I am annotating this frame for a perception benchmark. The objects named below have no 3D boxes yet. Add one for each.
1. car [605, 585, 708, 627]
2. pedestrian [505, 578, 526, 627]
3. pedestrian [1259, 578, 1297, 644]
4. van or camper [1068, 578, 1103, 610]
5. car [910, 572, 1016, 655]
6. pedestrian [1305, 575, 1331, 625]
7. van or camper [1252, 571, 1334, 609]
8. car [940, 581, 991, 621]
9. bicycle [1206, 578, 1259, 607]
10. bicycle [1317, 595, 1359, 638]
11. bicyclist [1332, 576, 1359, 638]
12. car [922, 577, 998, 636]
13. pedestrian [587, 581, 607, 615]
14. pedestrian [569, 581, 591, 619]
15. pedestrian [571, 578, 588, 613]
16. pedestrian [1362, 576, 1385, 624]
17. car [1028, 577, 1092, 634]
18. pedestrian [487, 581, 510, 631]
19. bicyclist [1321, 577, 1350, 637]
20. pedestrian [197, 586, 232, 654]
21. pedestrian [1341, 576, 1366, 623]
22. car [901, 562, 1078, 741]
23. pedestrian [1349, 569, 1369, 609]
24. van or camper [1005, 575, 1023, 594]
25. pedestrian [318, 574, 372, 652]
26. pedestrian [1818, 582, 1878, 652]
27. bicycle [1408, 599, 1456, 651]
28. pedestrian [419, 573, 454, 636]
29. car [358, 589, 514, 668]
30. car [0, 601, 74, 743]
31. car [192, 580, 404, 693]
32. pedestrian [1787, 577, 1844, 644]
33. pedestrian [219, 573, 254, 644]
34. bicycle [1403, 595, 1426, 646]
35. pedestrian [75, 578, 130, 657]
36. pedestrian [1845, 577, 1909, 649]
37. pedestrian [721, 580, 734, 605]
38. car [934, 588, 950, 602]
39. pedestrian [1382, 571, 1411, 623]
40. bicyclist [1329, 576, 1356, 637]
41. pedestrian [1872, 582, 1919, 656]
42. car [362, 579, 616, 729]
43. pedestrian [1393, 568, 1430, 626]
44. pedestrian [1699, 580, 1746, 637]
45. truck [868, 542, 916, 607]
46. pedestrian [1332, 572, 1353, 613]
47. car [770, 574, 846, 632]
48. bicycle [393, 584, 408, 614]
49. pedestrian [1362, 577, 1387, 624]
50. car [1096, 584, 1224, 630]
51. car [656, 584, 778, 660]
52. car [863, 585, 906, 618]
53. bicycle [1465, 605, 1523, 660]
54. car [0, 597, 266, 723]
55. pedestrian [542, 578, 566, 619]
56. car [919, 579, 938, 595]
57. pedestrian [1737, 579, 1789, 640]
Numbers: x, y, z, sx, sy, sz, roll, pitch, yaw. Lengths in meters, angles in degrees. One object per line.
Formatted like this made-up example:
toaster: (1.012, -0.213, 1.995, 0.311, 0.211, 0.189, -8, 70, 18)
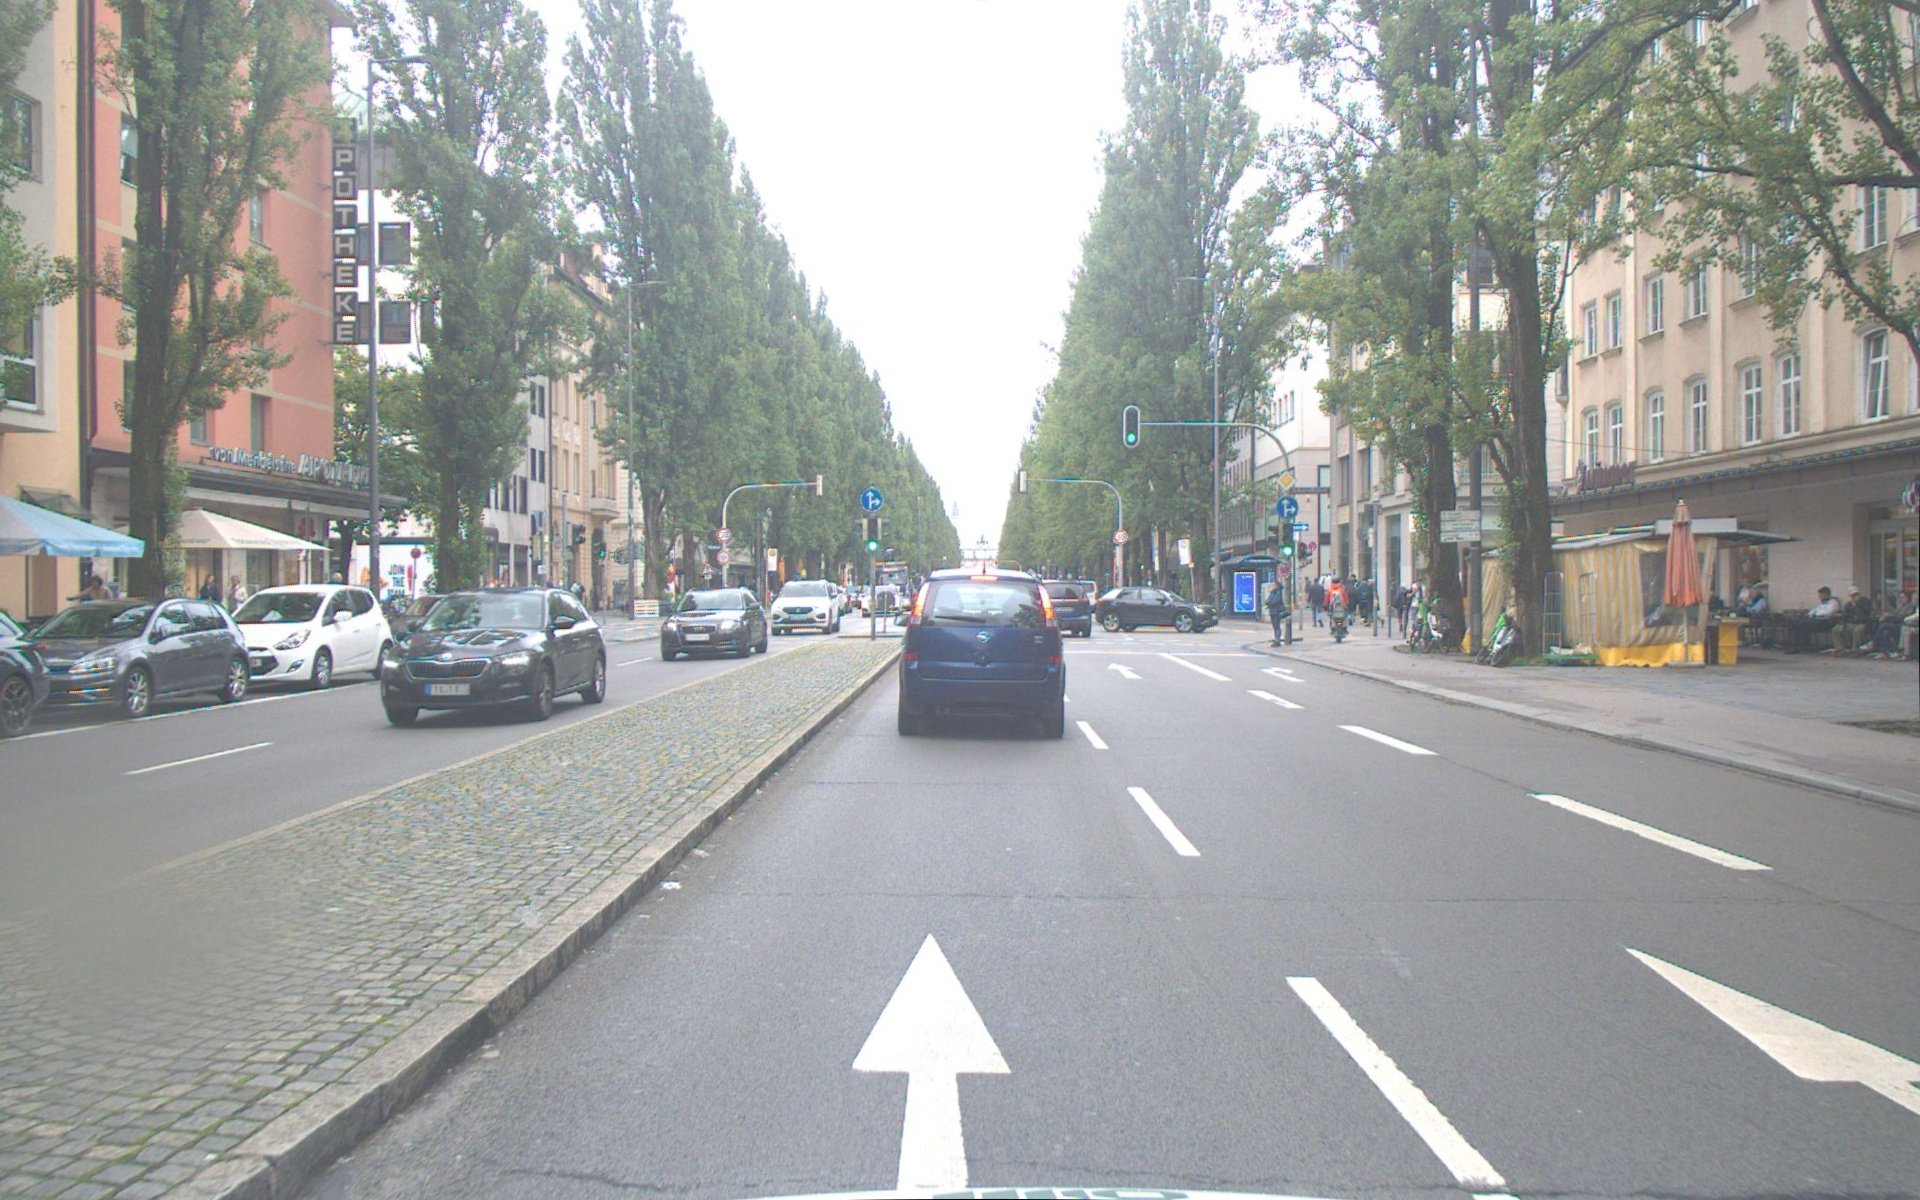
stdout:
car: (-11.419, 0.214, 62.235, 3.634, 1.501, 1.764, -1, 1, -18)
pedestrian: (-15.683, 0.083, 58.384, 0.574, 1.720, 0.514, 0, 0, 1)
pedestrian: (8.094, 0.274, 42.140, 0.750, 1.638, 0.864, -1, 0, -3)
van or camper: (7.556, -0.379, 99.865, 1.830, 1.916, 4.903, 0, 1, 1)
car: (0.064, 0.222, 32.660, 1.953, 1.523, 4.000, -1, 1, 0)
pedestrian: (13.565, -0.006, 62.741, 0.801, 1.849, 0.890, 0, 0, -1)
van or camper: (17.479, -0.522, 86.905, 4.018, 1.899, 1.899, 1, 0, 5)
car: (0.228, 0.028, 65.646, 1.953, 1.523, 4.000, 0, 1, 0)
bicycle: (12.285, -0.346, 74.637, 2.295, 1.274, 0.633, 0, 0, 0)
bicycle: (10.273, 0.430, 44.983, 0.614, 1.105, 2.263, -1, 0, 0)
bicyclist: (10.269, 0.182, 44.045, 0.608, 1.616, 0.391, -1, 0, 0)
car: (0.002, 0.150, 45.169, 1.953, 1.523, 4.000, 0, 1, 0)
pedestrian: (-18.046, -0.093, 82.238, 0.762, 1.647, 0.934, 0, 0, 0)
pedestrian: (-16.198, 0.010, 70.507, 0.735, 1.594, 0.989, 0, 0, -1)
pedestrian: (-20.253, -0.232, 88.011, 0.684, 1.818, 0.820, 0, 0, 2)
pedestrian: (15.456, -0.010, 61.849, 0.693, 1.788, 0.753, 0, 0, 2)
car: (2.936, 0.137, 49.245, 1.671, 1.601, 4.000, 0, 1, 0)
pedestrian: (-16.119, 0.212, 57.780, 0.616, 1.718, 0.519, 1, 0, 2)
bicyclist: (10.269, 0.177, 45.232, 0.608, 1.616, 0.753, -1, 0, 0)
pedestrian: (-18.525, 0.488, 41.101, 0.543, 1.667, 0.692, 0, 0, 0)
pedestrian: (15.095, -0.004, 63.434, 0.734, 1.789, 0.859, -1, -2, 2)
car: (0.276, 0.460, 17.524, 1.647, 1.670, 4.000, 0, 1, 0)
pedestrian: (17.806, -0.508, 73.822, 0.734, 1.788, 0.711, 0, 0, 2)
van or camper: (7.736, -2.267, 236.425, 2.425, 2.626, 5.845, -1, 0, 1)
pedestrian: (-14.645, 0.309, 39.423, 0.720, 1.827, 0.993, 1, 0, 19)
pedestrian: (16.557, 0.307, 30.843, 0.759, 1.286, 0.699, 0, 0, 1)
bicycle: (10.094, 0.513, 35.435, 0.498, 1.066, 1.770, 0, 1, -1)
pedestrian: (-15.085, 0.129, 47.687, 0.709, 1.802, 0.778, 0, 0, 2)
car: (-10.661, 0.542, 33.995, 1.668, 1.463, 4.590, -2, 0, 1)
car: (-10.634, 0.763, 15.986, 1.668, 1.437, 4.434, -2, 0, 1)
car: (-10.492, 0.532, 26.523, 1.668, 1.611, 4.096, -2, 0, 1)
pedestrian: (16.776, 0.201, 32.454, 0.759, 1.286, 0.699, 0, 0, 1)
pedestrian: (-17.989, 0.214, 41.107, 0.543, 1.747, 0.692, 0, 0, 0)
bicycle: (10.378, 0.457, 37.760, 0.396, 1.088, 1.812, 5, 1, 16)
pedestrian: (-18.684, 0.366, 36.053, 0.764, 1.697, 0.802, 0, 0, 0)
pedestrian: (16.526, 0.225, 29.819, 0.759, 1.286, 0.699, 0, 0, 1)
pedestrian: (-16.301, -0.543, 116.015, 0.719, 1.702, 0.952, 0, 0, 1)
car: (-2.339, -0.654, 216.907, 1.895, 1.651, 4.337, -2, 1, 0)
pedestrian: (14.326, -0.093, 54.306, 0.734, 1.665, 0.734, -2, -2, 3)
bicyclist: (10.272, 0.180, 44.439, 0.608, 1.616, 0.481, -1, 0, 0)
pedestrian: (16.556, 0.327, 28.993, 0.759, 1.286, 0.699, 0, 0, 1)
car: (-5.324, 0.555, 19.234, 1.720, 1.491, 4.050, -2, 0, 0)
pedestrian: (13.718, -0.074, 50.235, 0.661, 1.732, 0.846, 1, -2, -44)
pedestrian: (17.207, 0.187, 37.333, 0.759, 1.286, 0.699, 0, 0, 1)
truck: (-4.064, -1.529, 100.357, 2.412, 3.734, 8.441, 0, 1, 1)
pedestrian: (17.008, -0.351, 73.580, 0.734, 1.788, 1.017, 0, 0, 2)
car: (-4.717, 0.061, 51.916, 1.805, 1.664, 4.576, -2, 1, 1)
bicycle: (-23.232, -0.051, 68.726, 0.442, 1.204, 2.055, -1, 1, -15)
pedestrian: (15.874, 0.014, 63.365, 0.734, 1.789, 0.859, -1, -2, 2)
car: (6.724, 0.226, 55.610, 3.909, 1.486, 1.757, 0, 1, 27)
car: (-4.973, 0.406, 34.349, 1.798, 1.385, 4.177, -2, 1, 1)
car: (-3.666, 0.057, 81.352, 1.806, 1.528, 4.986, -1, 1, 1)
bicycle: (10.083, 0.601, 31.264, 0.498, 0.992, 1.770, 0, 1, -1)
car: (-10.523, 0.695, 21.156, 1.463, 1.405, 4.187, -2, 0, 1)
pedestrian: (-18.101, -0.081, 73.801, 0.783, 1.818, 0.912, 1, 0, 1)
car: (-3.450, -1.447, 182.655, 1.874, 1.710, 4.586, 0, 1, 1)
pedestrian: (17.068, 0.193, 35.170, 0.759, 1.286, 0.699, 0, 0, 1)
